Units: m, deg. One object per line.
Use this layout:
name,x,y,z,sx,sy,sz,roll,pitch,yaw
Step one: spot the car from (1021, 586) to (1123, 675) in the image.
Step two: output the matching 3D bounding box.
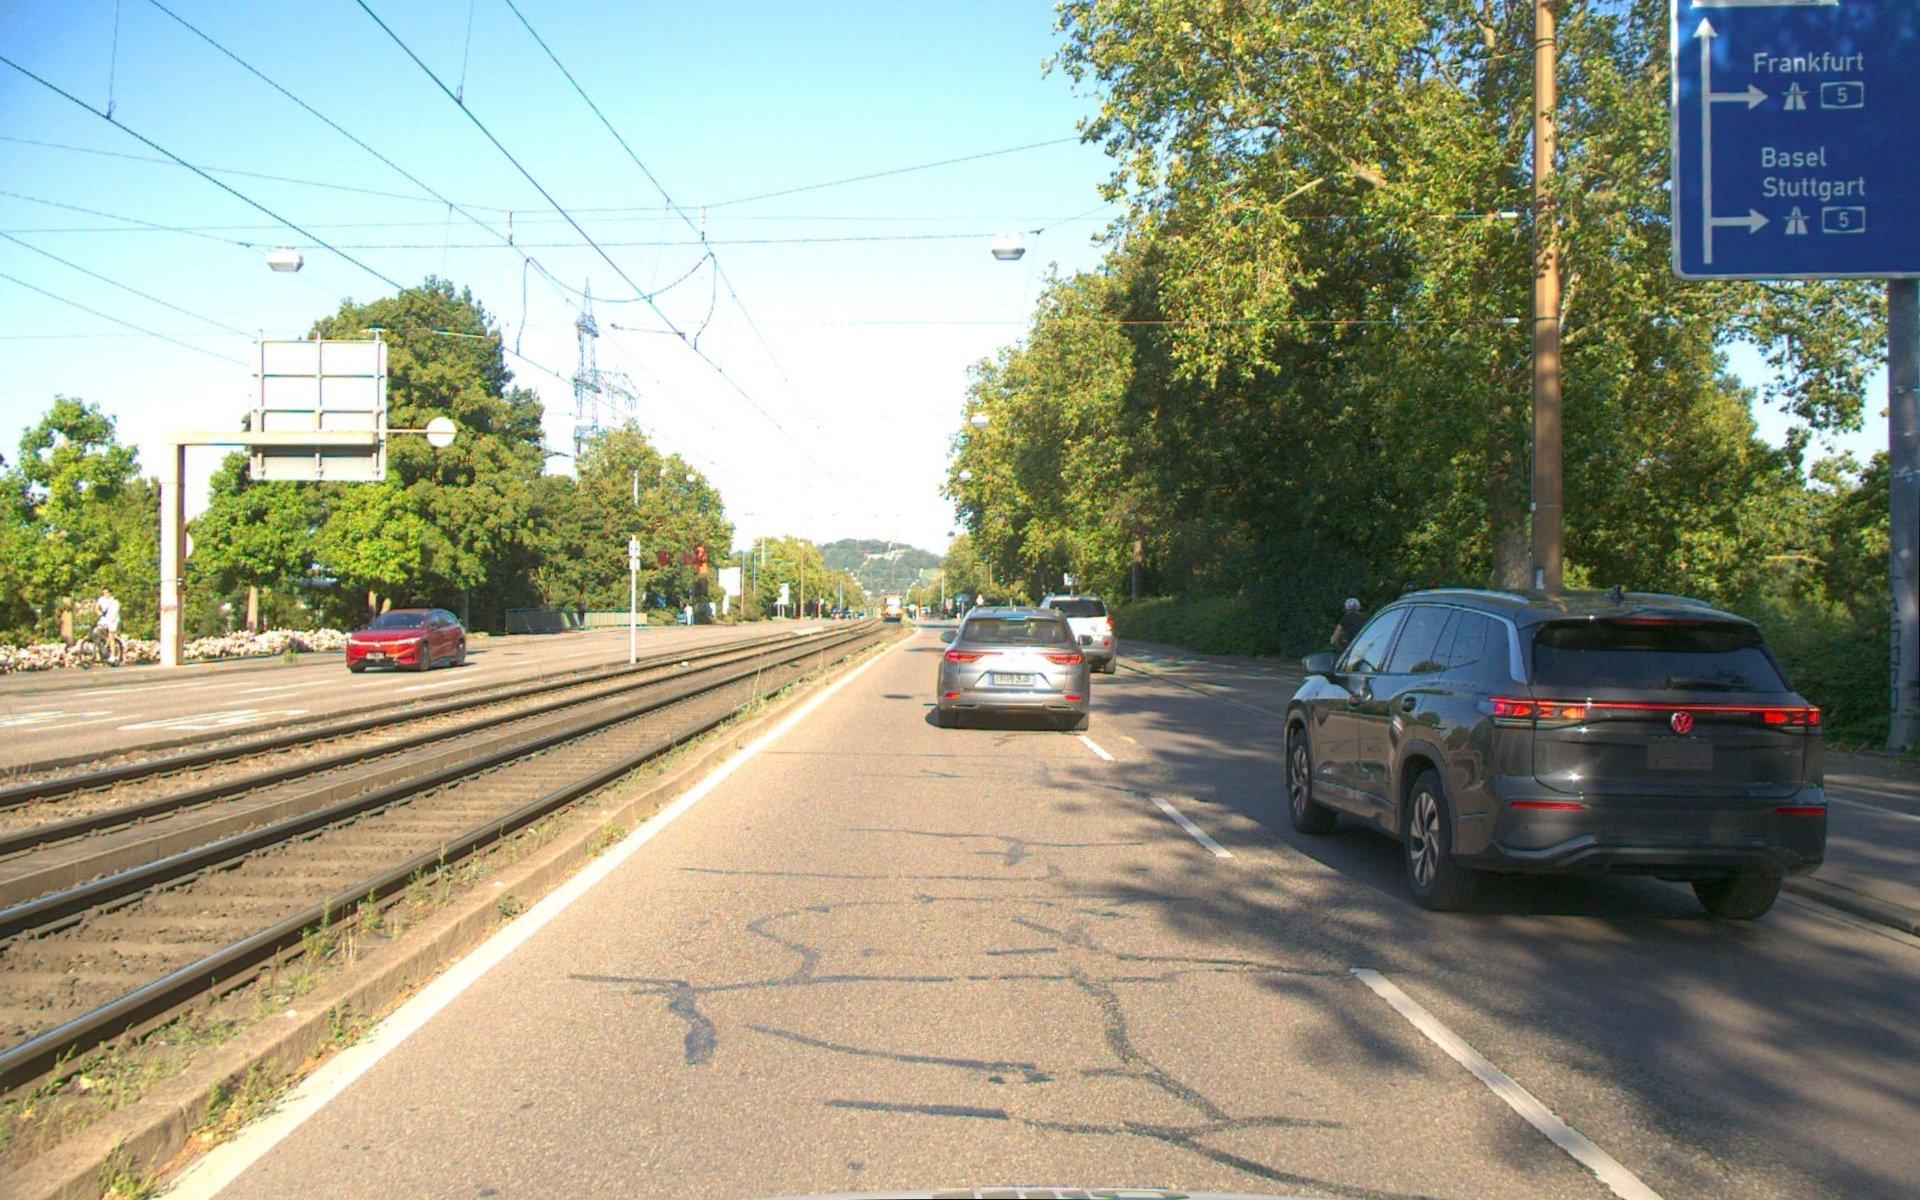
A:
car,2.482,0.643,37.570,1.845,1.827,3.999,2,0,-2

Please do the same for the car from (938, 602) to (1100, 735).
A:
car,0.645,0.797,21.113,1.828,1.493,4.665,1,-1,-1

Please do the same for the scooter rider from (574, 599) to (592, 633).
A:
scooter rider,-20.827,0.872,91.326,0.667,1.881,1.001,0,0,6

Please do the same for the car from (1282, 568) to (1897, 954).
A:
car,3.268,0.739,9.655,1.807,1.690,4.438,2,0,-1

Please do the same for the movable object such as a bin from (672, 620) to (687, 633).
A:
movable object such as a bin,-22.126,2.073,130.509,0.709,0.978,1.101,2,-2,20

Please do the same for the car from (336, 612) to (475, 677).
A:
car,-14.206,1.101,42.714,1.998,1.529,4.887,0,0,-1

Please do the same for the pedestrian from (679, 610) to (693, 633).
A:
pedestrian,-21.787,1.728,131.424,0.709,1.787,0.835,2,-2,20

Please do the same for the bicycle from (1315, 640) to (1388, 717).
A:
bicycle,5.493,1.088,23.289,0.554,0.991,1.788,-1,0,-1

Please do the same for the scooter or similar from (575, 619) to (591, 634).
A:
scooter or similar,-20.823,1.457,91.330,0.462,0.843,1.263,0,0,5

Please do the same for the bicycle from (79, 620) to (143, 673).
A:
bicycle,-21.048,1.149,41.025,0.590,1.240,1.749,2,0,2

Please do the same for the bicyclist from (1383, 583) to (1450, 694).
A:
bicyclist,6.431,0.532,23.325,0.671,1.535,0.890,1,0,-1

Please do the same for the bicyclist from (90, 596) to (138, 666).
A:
bicyclist,-21.028,0.756,41.128,0.590,1.688,0.963,2,0,2

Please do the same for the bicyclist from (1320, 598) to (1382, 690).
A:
bicyclist,5.495,0.607,23.288,0.628,1.247,0.890,-1,0,-1

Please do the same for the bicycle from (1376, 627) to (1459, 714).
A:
bicycle,6.422,0.970,23.308,0.609,1.140,1.812,-1,0,-1
